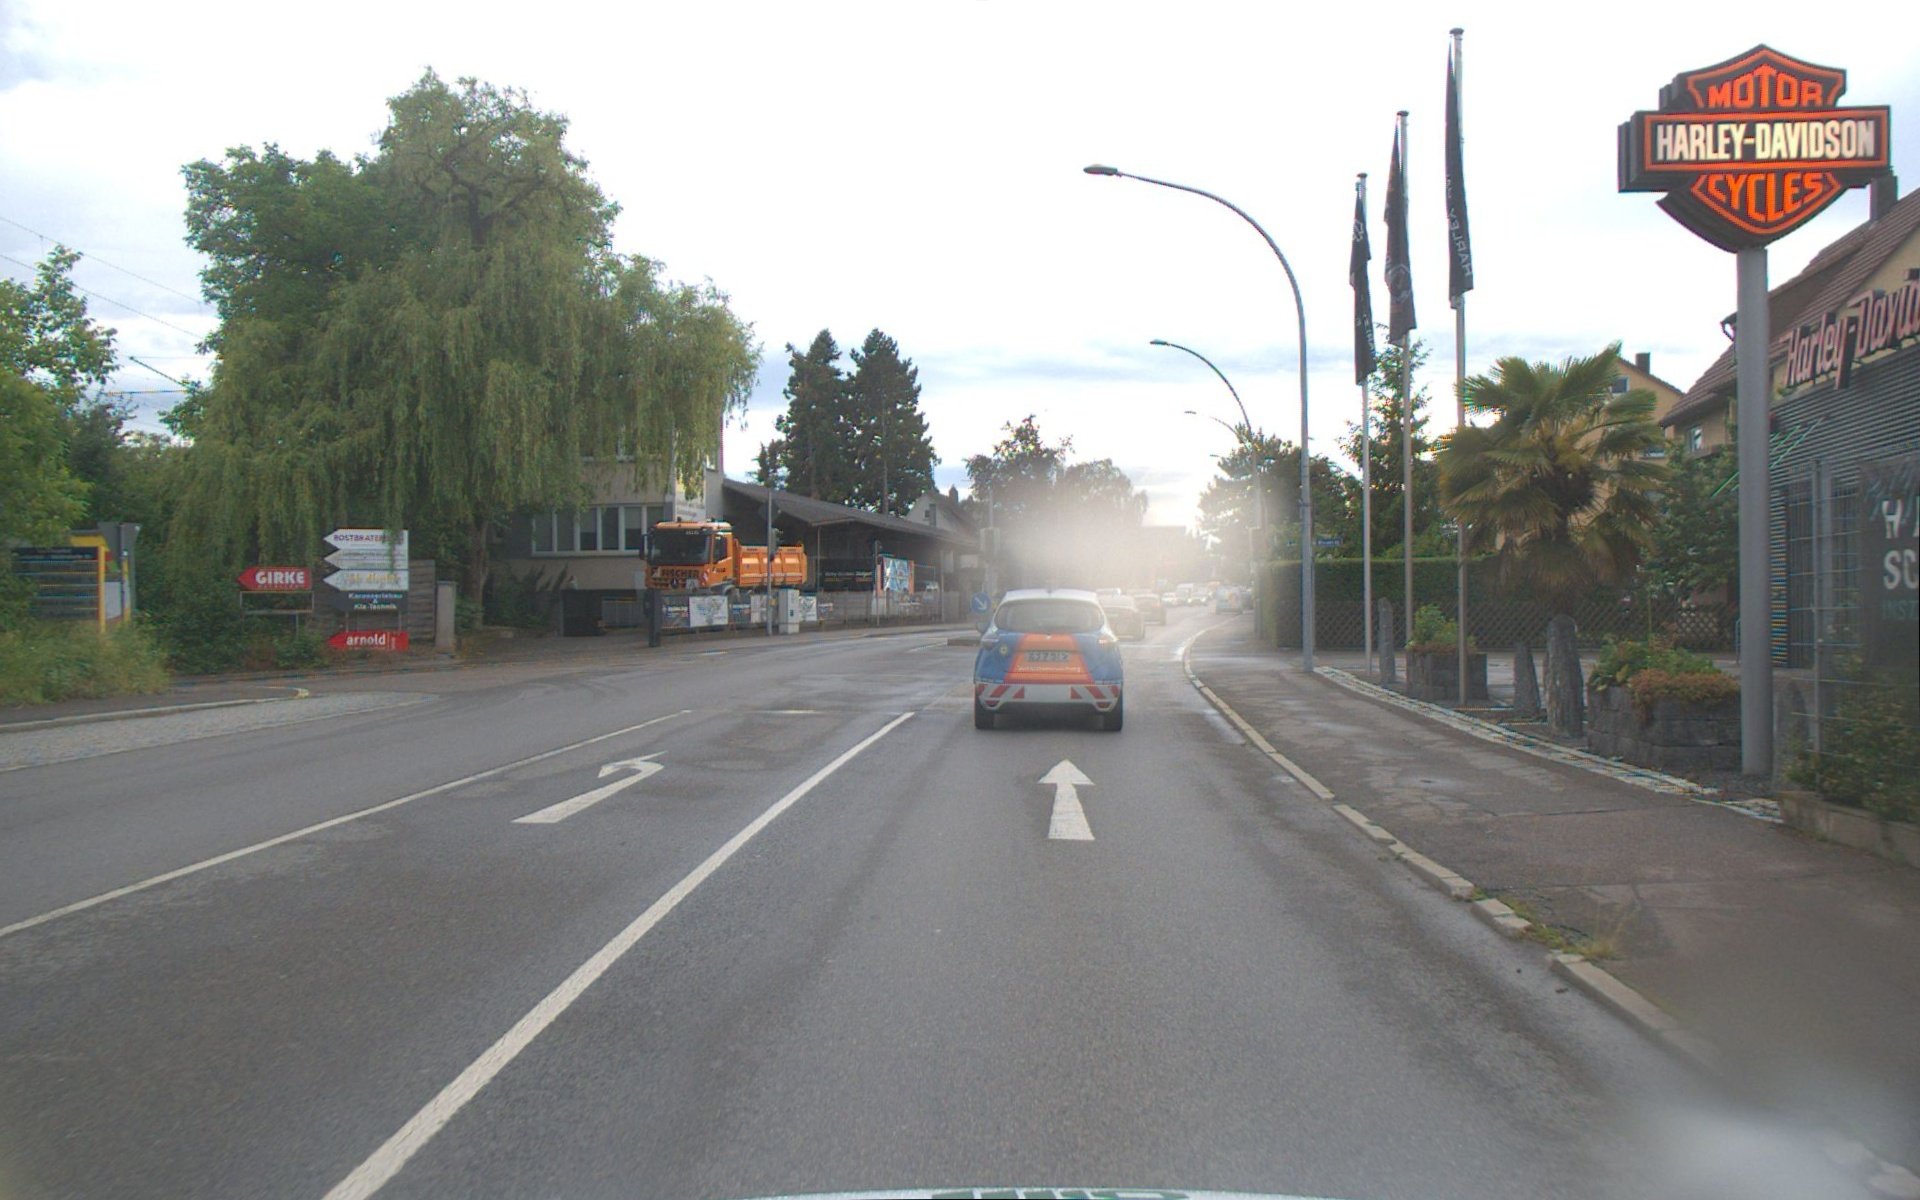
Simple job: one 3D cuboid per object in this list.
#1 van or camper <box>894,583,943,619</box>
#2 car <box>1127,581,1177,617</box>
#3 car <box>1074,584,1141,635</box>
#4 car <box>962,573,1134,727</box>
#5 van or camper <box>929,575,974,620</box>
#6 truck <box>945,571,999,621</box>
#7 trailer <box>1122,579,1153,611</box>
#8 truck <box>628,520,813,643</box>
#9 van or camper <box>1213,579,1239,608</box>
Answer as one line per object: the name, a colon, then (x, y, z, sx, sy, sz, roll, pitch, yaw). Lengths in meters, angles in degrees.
van or camper: (-2.355, 0.099, 95.226, 1.951, 1.942, 4.475, 2, 0, 9)
car: (8.997, -0.022, 77.342, 1.951, 1.445, 4.003, 2, -2, 11)
car: (4.555, 0.323, 51.369, 1.685, 1.400, 3.933, 3, -2, 0)
car: (1.065, 0.531, 19.923, 1.849, 1.660, 4.002, 0, 0, 3)
van or camper: (-0.487, -0.116, 101.889, 1.819, 2.480, 5.237, 3, -2, 10)
truck: (0.831, -0.220, 107.469, 2.343, 2.978, 5.961, 2, -1, 11)
trailer: (15.302, -0.446, 142.353, 2.175, 2.045, 4.444, -8, 5, 10)
truck: (-7.590, -0.439, 54.055, 2.640, 3.471, 9.077, 2, -2, 14)
van or camper: (18.123, -0.434, 112.572, 1.717, 1.916, 4.004, 0, 0, 10)
